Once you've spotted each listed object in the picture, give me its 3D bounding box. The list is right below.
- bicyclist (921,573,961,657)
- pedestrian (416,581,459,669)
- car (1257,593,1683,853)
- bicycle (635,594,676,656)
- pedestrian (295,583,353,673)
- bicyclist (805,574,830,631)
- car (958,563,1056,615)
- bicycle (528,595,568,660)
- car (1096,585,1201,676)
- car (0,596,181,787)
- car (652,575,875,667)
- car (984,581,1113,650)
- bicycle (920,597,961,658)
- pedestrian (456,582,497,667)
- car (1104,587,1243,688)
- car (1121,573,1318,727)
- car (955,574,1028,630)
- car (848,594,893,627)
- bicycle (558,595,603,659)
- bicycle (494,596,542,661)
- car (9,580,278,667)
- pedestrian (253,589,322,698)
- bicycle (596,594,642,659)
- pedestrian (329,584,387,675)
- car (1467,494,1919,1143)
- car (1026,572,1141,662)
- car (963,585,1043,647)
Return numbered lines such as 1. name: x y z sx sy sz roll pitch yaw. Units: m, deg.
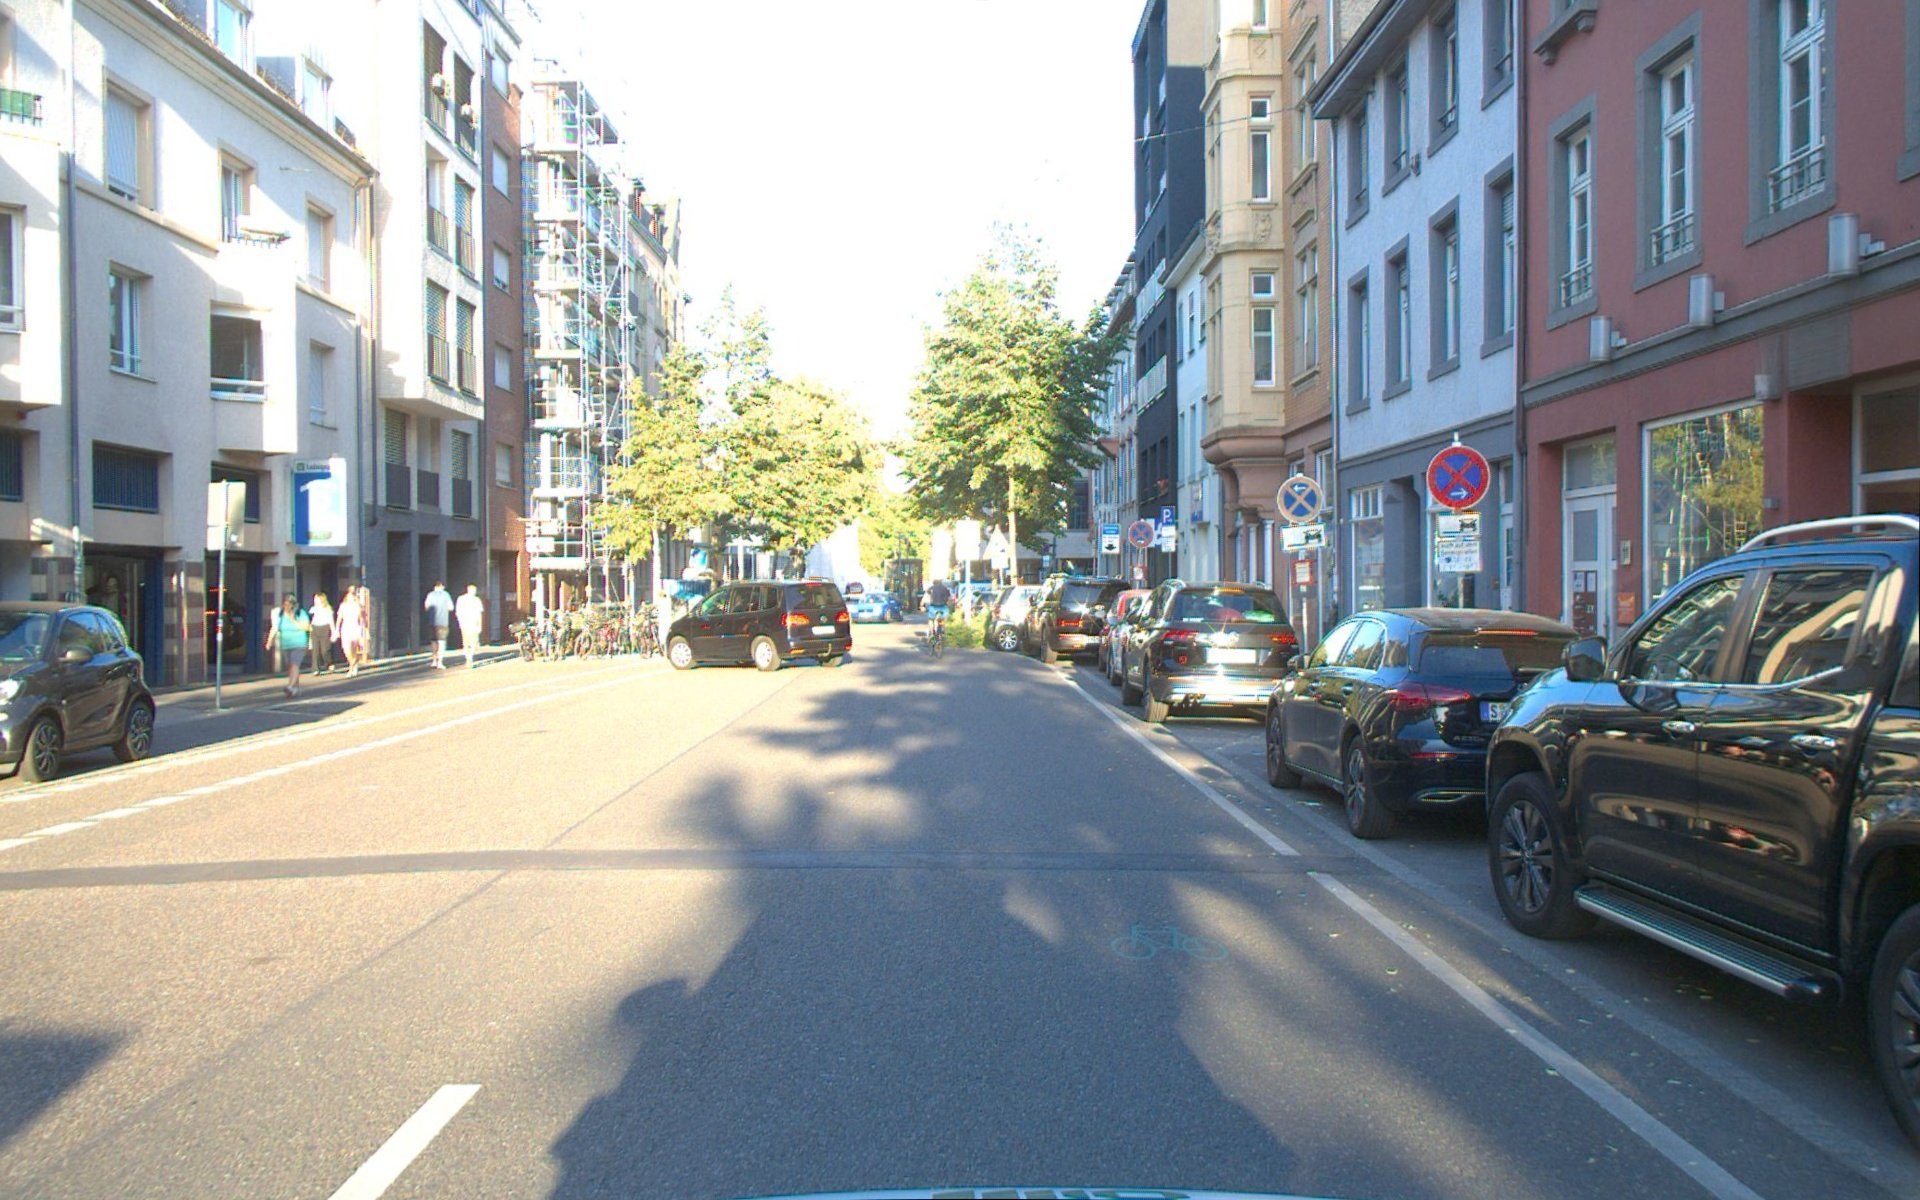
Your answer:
1. bicyclist: -0.406 0.316 34.766 0.765 1.726 1.007 -1 0 -3
2. pedestrian: -10.791 0.516 34.182 0.703 1.798 0.693 1 0 -9
3. car: 3.400 0.725 11.919 1.726 1.509 4.306 1 0 0
4. bicycle: -7.045 0.549 38.340 0.829 1.374 3.180 -1 0 -9
5. pedestrian: -11.977 0.523 31.157 0.701 1.670 0.855 1 0 4
6. bicyclist: -4.730 0.066 54.950 0.765 1.861 1.007 -1 0 -3
7. car: 1.928 -0.441 67.208 3.903 2.049 2.001 0 1 3
8. bicycle: -9.424 0.591 37.913 0.574 1.420 3.154 1 0 -9
9. car: 3.299 0.509 29.392 1.554 1.509 3.267 1 0 1
10. car: -8.787 0.758 15.344 1.756 1.562 3.187 0 1 -3
11. car: -3.807 0.433 31.477 1.984 1.630 4.437 1 -2 -43
12. car: 2.103 0.368 39.613 2.910 1.563 1.432 1 0 -5
13. bicycle: -0.415 0.562 34.868 0.765 1.225 2.019 -1 0 -3
14. pedestrian: -10.222 0.519 35.000 0.703 1.771 0.737 1 0 -9
15. car: 3.212 0.532 25.443 1.632 1.402 3.802 1 0 0
16. car: 3.101 0.556 20.568 1.775 1.697 4.205 1 0 0
17. car: 1.118 0.081 61.829 2.221 1.796 4.506 6 0 -4
18. car: -4.118 0.482 76.880 1.800 1.466 4.332 1 0 0
19. bicycle: -8.701 0.585 38.050 0.766 1.397 3.136 1 0 -9
20. bicycle: -10.080 0.623 37.796 0.707 1.420 3.147 1 0 -9
21. car: -16.404 0.456 33.381 4.401 1.629 2.001 1 0 2
22. pedestrian: -10.514 0.671 25.883 0.702 1.670 0.951 1 0 -3
23. bicycle: -7.851 0.580 38.203 0.876 1.420 3.160 0 0 -9
24. pedestrian: -11.276 0.539 31.010 0.701 1.670 0.855 1 0 4
25. car: 3.531 0.611 5.678 1.845 1.785 5.056 1 0 -2
26. car: 2.469 0.326 34.053 1.788 1.725 4.366 1 0 -4
27. car: 1.211 0.452 48.519 1.954 1.697 4.506 1 0 -4
